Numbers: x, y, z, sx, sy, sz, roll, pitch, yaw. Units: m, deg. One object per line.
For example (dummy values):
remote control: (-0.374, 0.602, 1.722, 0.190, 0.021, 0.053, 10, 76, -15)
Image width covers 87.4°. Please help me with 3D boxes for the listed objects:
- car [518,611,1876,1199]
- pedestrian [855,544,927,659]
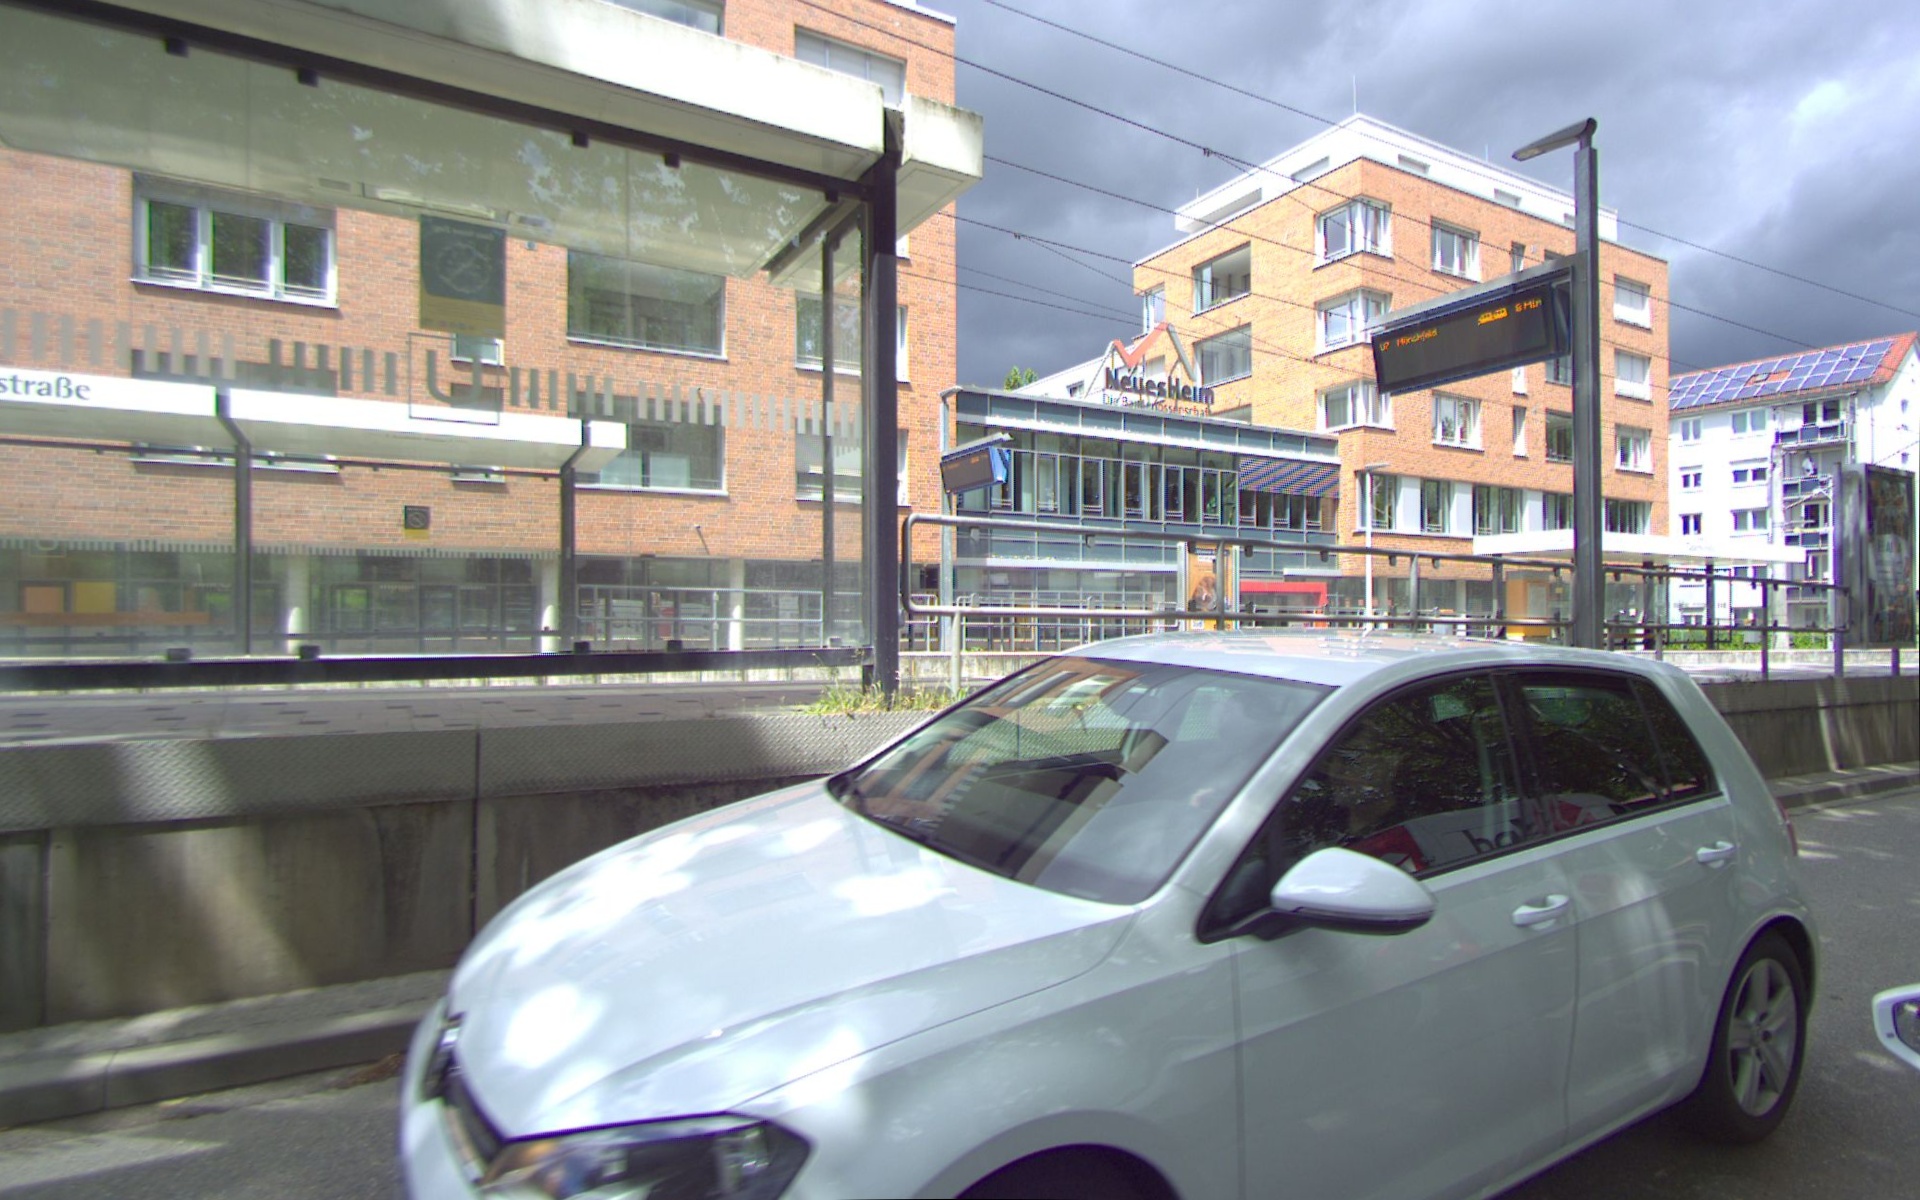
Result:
car: (0.849, 0.790, 2.922, 3.709, 1.415, 1.723, 2, 0, -32)
pedestrian: (-1.023, 0.026, 14.887, 0.806, 1.650, 0.748, 1, 0, -30)
